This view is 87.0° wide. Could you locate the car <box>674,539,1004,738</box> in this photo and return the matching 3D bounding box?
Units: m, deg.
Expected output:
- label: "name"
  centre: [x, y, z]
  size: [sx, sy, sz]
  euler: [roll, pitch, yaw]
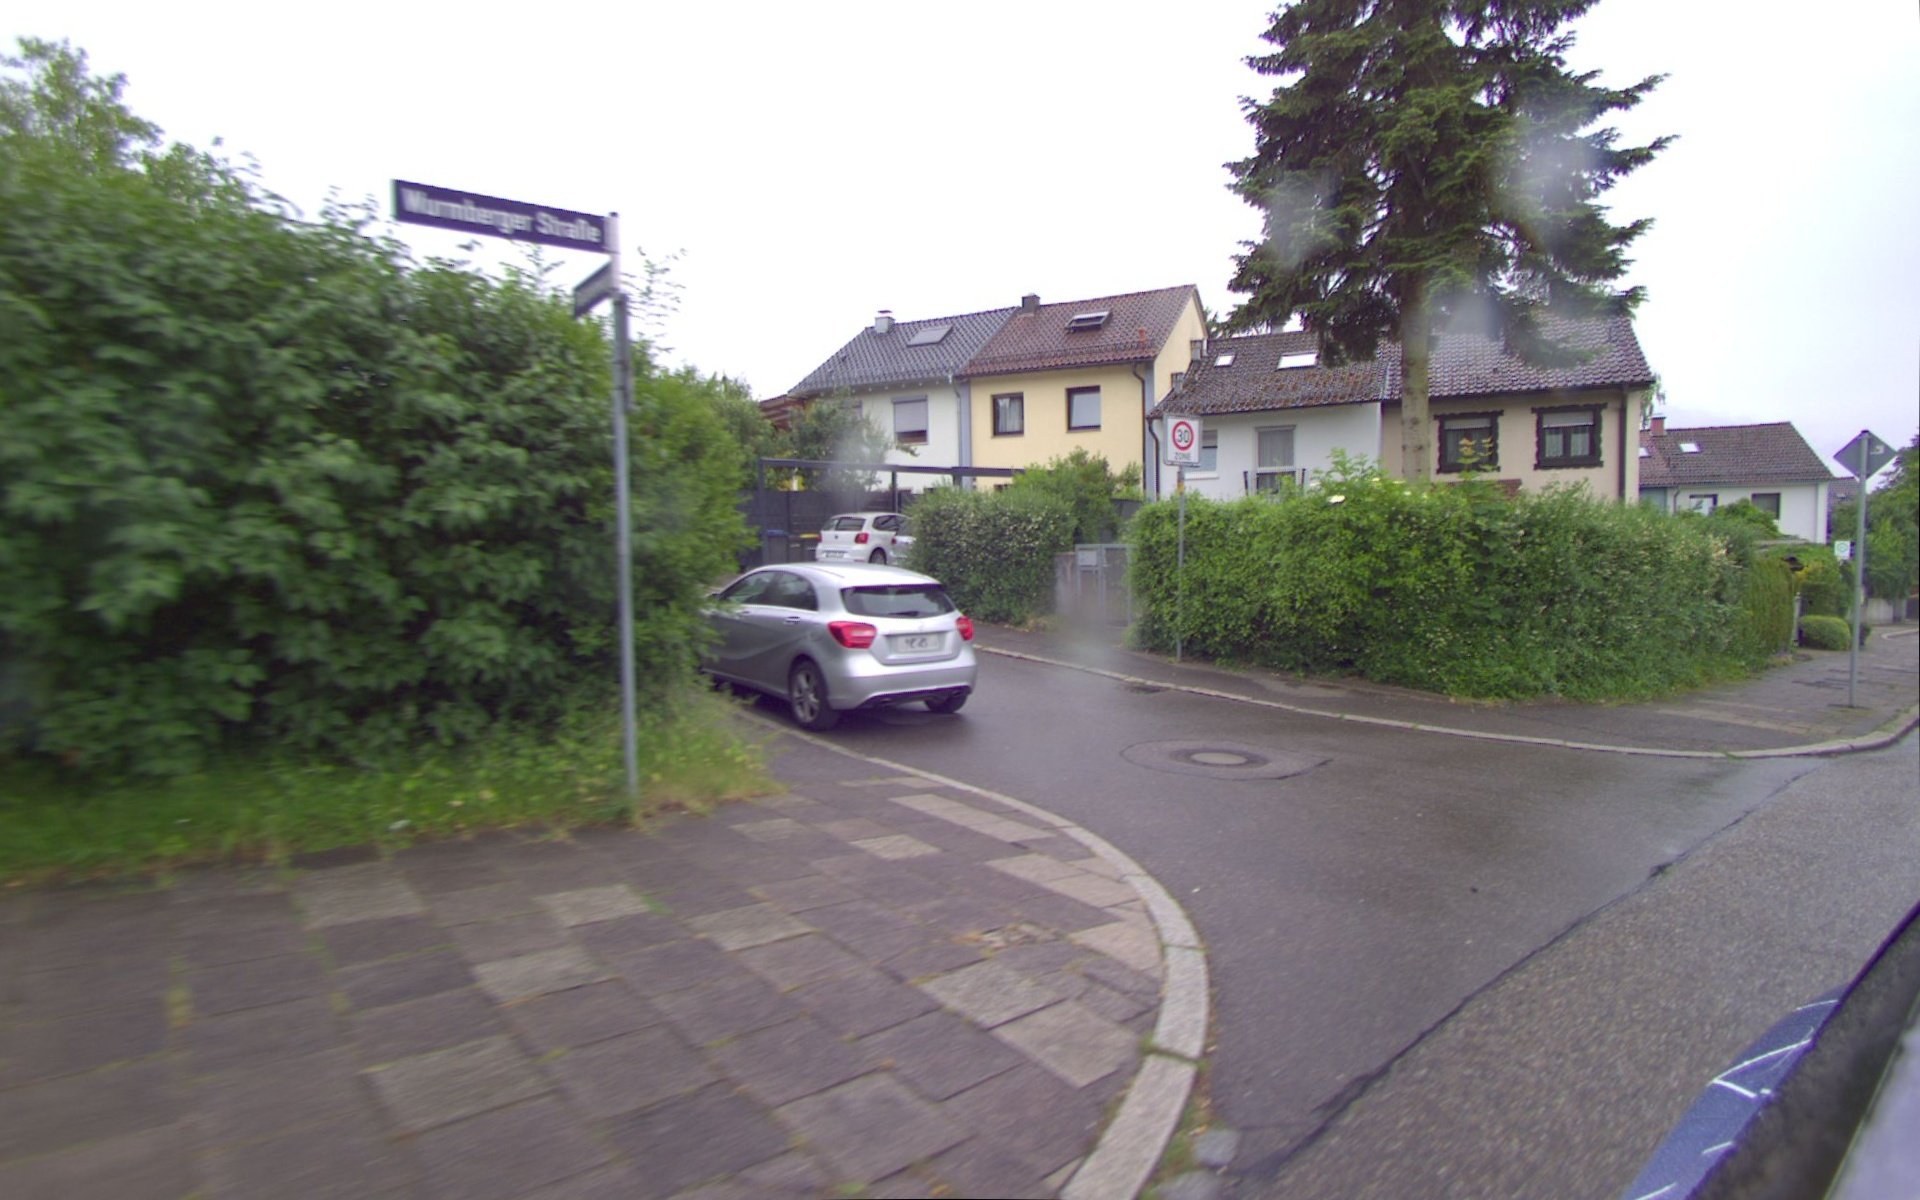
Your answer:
- label: "car"
  centre: [-1.434, 0.226, 10.610]
  size: [1.696, 1.529, 3.786]
  euler: [-1, 6, -38]
